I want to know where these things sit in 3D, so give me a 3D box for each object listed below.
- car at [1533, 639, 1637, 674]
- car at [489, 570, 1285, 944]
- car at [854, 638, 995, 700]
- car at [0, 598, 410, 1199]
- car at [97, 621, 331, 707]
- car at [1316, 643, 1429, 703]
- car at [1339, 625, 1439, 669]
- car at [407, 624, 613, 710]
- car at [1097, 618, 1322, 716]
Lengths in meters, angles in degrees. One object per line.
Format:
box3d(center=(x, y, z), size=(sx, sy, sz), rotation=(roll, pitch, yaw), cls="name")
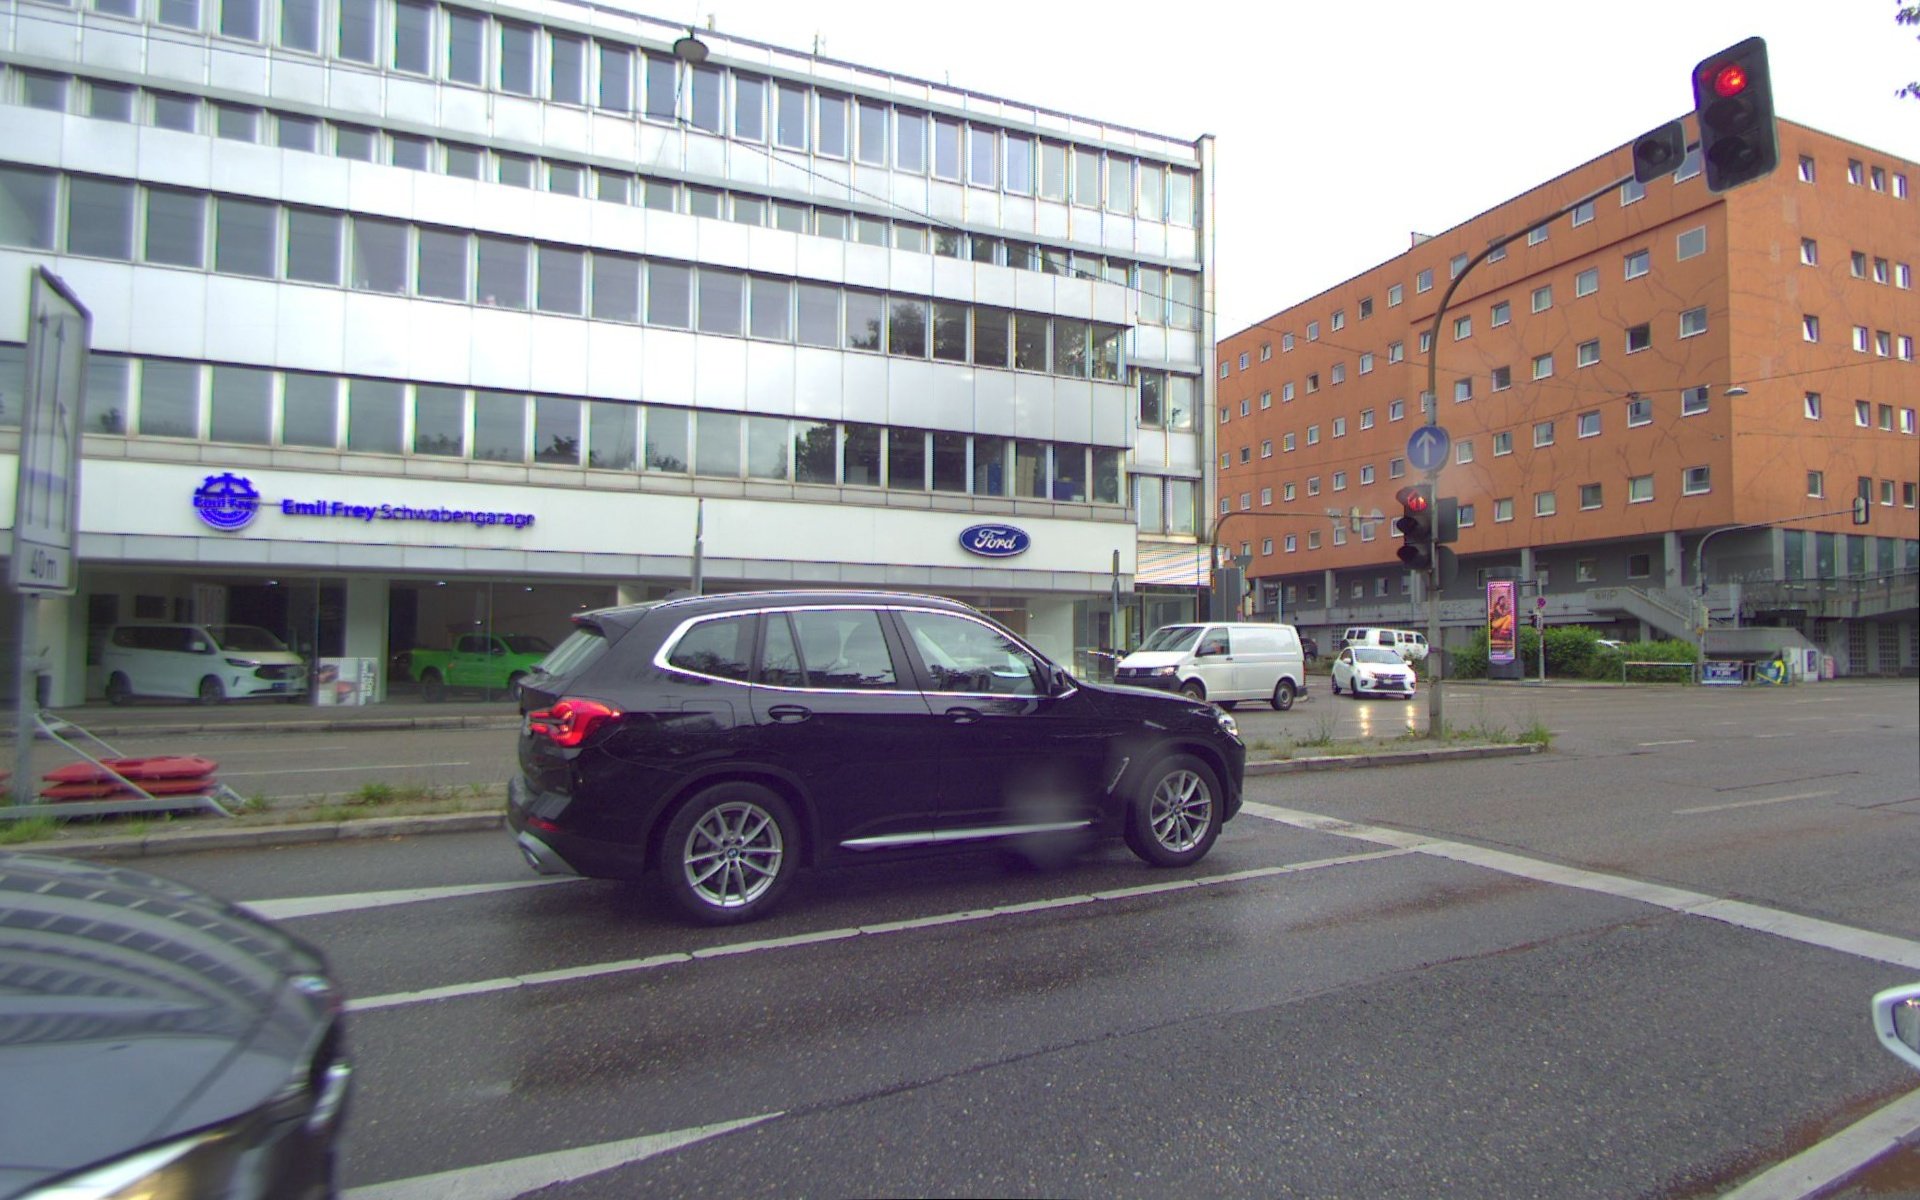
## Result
box3d(center=(30.345, 2.777, 48.897), size=(1.865, 1.638, 4.011), rotation=(1, -4, -20), cls="car")
box3d(center=(-0.379, 0.706, 6.284), size=(4.610, 1.619, 1.940), rotation=(1, 0, -27), cls="car")
box3d(center=(-1.193, 2.158, 31.314), size=(1.983, 1.761, 4.721), rotation=(3, -5, -38), cls="car")
box3d(center=(-3.001, 0.681, 1.084), size=(4.130, 1.469, 1.750), rotation=(4, 0, -31), cls="car")
box3d(center=(-18.015, 1.569, 24.304), size=(4.889, 1.921, 2.001), rotation=(-2, -4, 17), cls="car")
box3d(center=(12.295, 2.200, 30.281), size=(1.959, 1.659, 4.830), rotation=(-1, -4, 8), cls="car")
box3d(center=(22.358, 2.451, 52.311), size=(4.783, 2.040, 1.989), rotation=(2, 1, -23), cls="car")
box3d(center=(-11.531, 1.736, 25.702), size=(5.109, 2.037, 1.999), rotation=(-2, -4, 26), cls="car")
box3d(center=(5.650, 1.487, 22.457), size=(5.160, 1.957, 1.981), rotation=(2, -5, -35), cls="car")
